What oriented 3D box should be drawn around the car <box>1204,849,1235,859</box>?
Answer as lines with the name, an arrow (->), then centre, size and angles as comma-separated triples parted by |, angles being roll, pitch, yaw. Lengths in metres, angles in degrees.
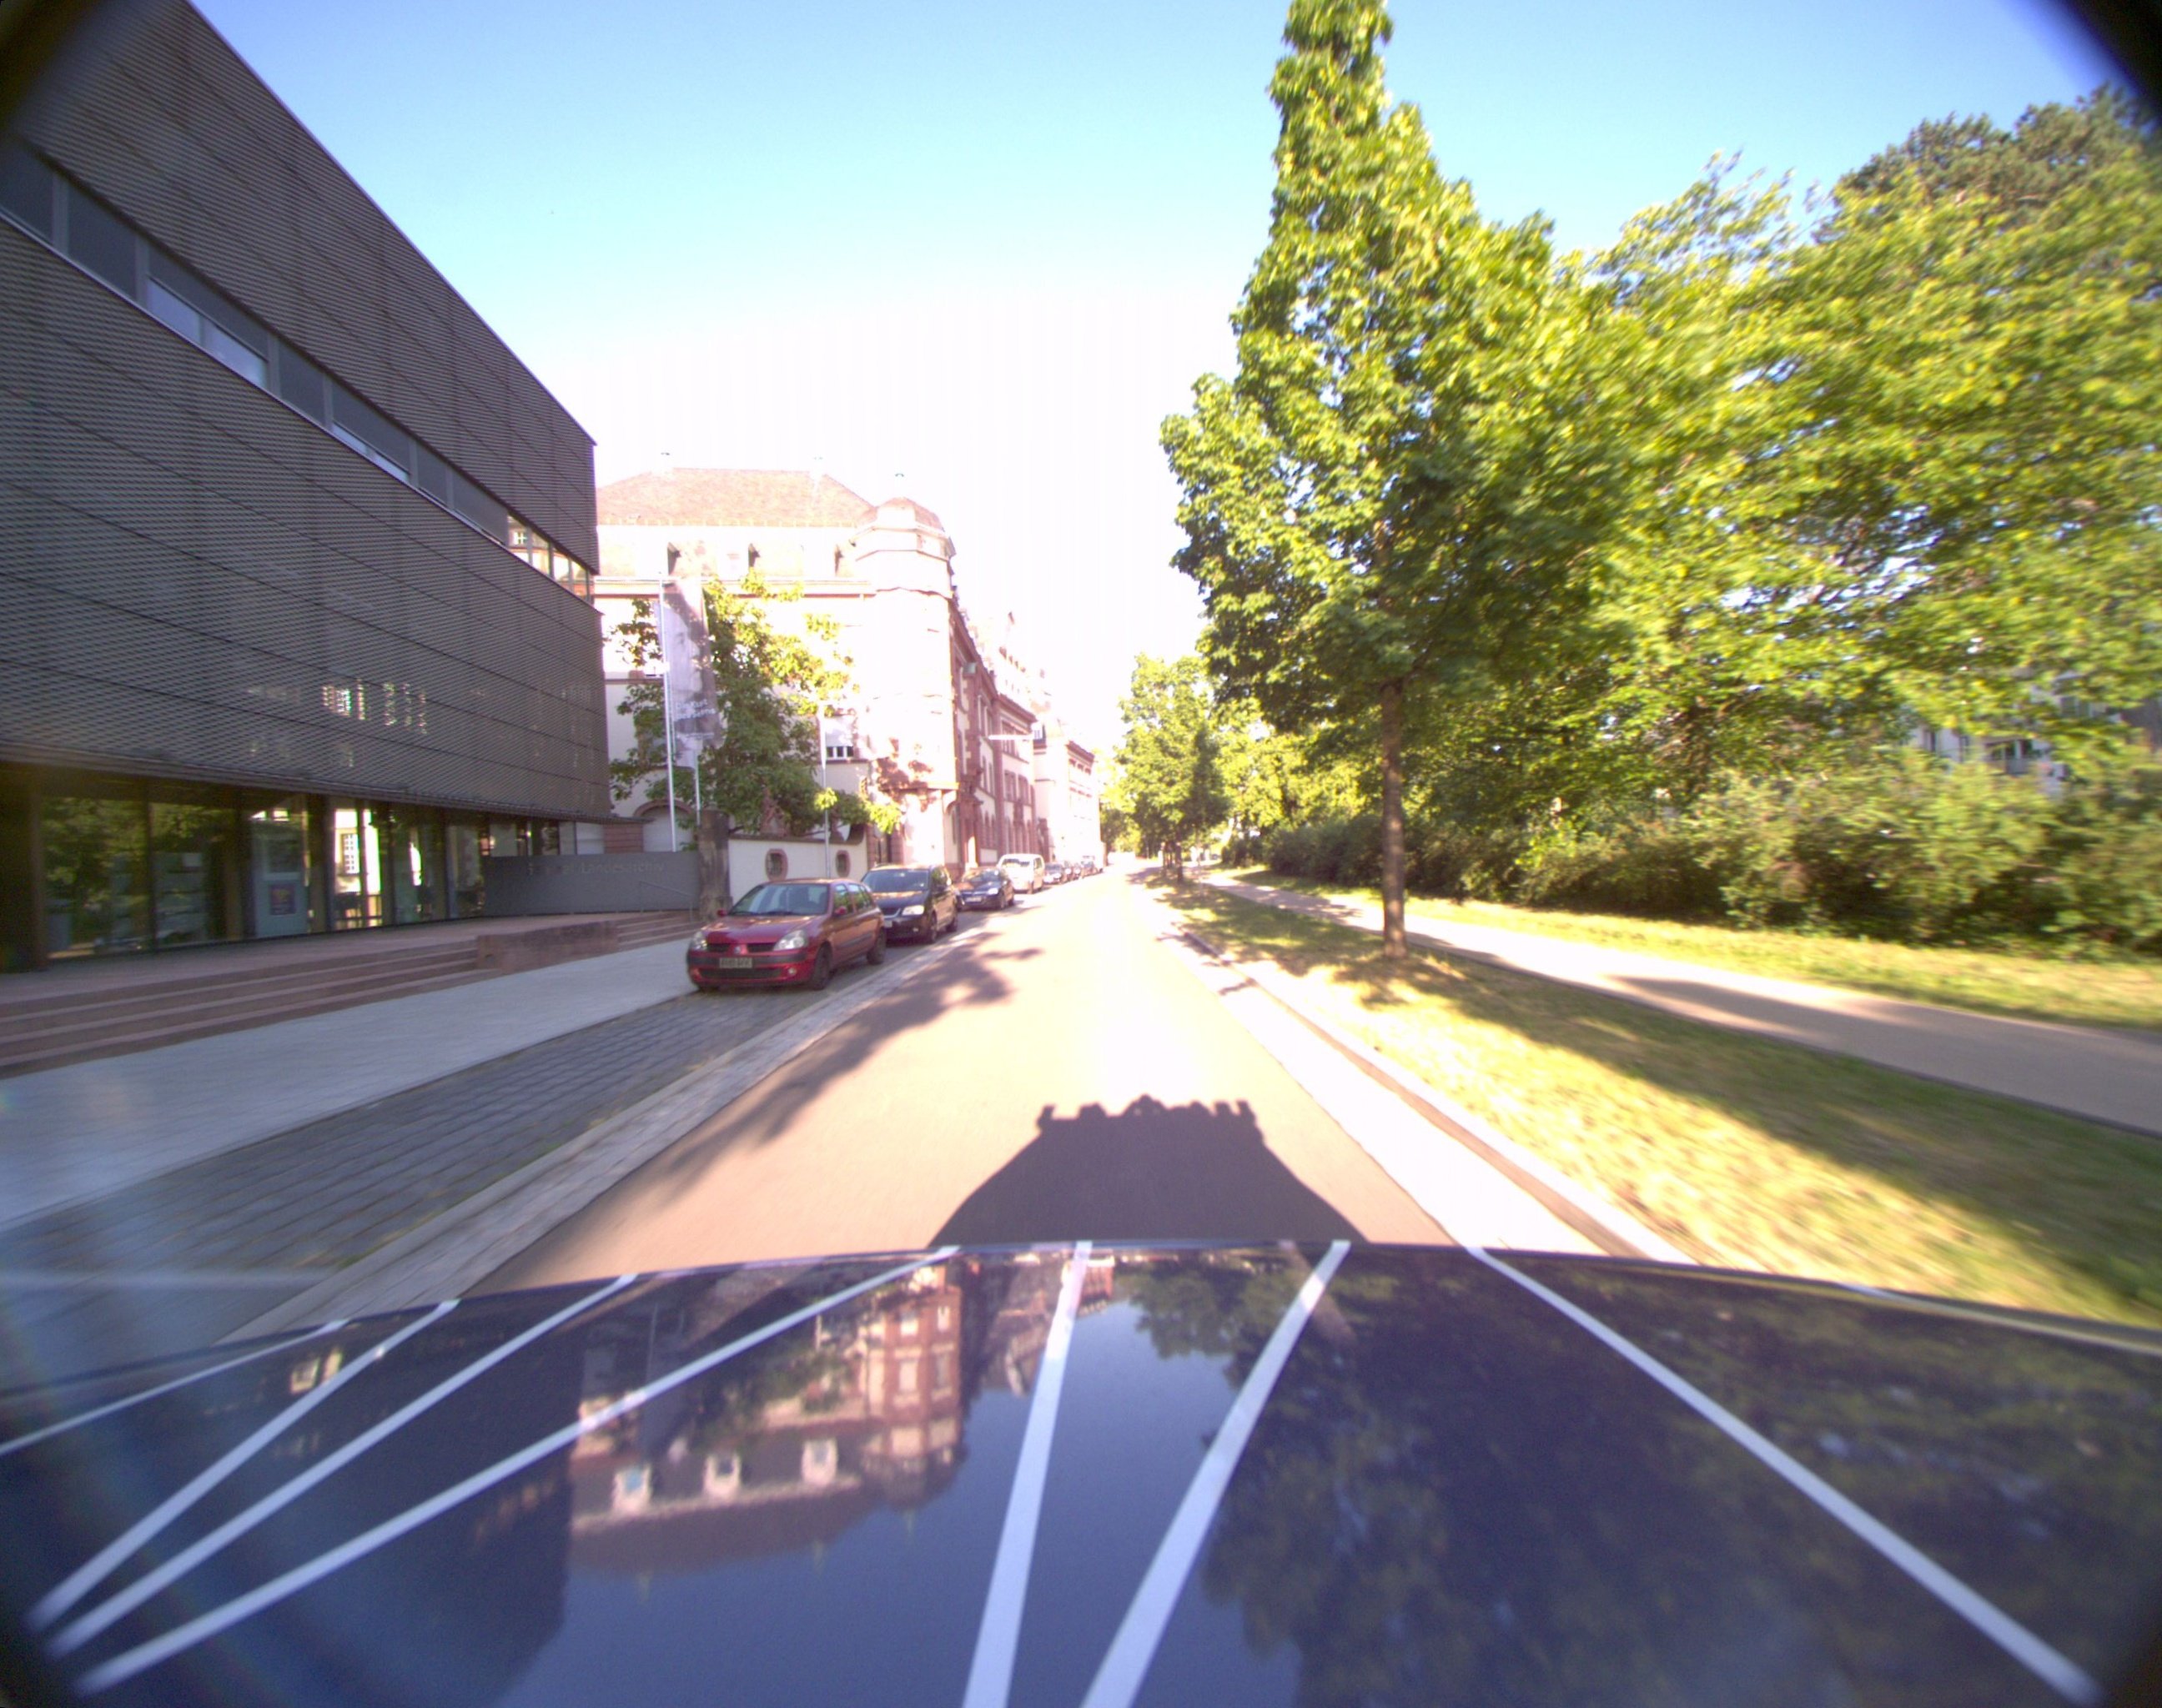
car -> 23.967, -0.010, 131.863 | 4.837, 1.549, 1.867 | -3, 0, -7

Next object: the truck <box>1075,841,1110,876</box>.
truck -> 1.230, 0.365, 75.440 | 2.629, 3.103, 6.089 | -4, 1, 8

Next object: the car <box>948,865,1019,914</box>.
car -> -3.351, 1.193, 26.920 | 1.751, 1.458, 4.478 | -2, 0, 2

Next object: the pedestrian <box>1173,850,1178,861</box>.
pedestrian -> 15.739, 0.197, 126.927 | 0.612, 1.828, 0.726 | -3, -2, -6

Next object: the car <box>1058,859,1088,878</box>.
car -> -0.586, 1.105, 59.363 | 1.875, 1.428, 4.524 | -1, 0, 5

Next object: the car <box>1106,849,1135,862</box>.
car -> 8.872, 0.293, 170.051 | 5.910, 2.684, 2.219 | -3, 0, -9

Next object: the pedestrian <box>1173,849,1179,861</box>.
pedestrian -> 15.702, 0.138, 126.064 | 0.716, 1.829, 0.790 | -3, -1, -6

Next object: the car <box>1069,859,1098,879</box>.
car -> 0.251, 1.333, 68.259 | 1.771, 1.522, 4.574 | -4, 1, 10

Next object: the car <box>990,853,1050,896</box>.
car -> -3.036, 0.996, 39.070 | 1.997, 1.955, 4.851 | -3, 1, 8

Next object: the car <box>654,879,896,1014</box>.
car -> -4.050, 1.146, 10.829 | 1.728, 1.413, 3.907 | -2, 0, 2

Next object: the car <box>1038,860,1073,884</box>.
car -> -1.630, 1.146, 49.384 | 1.682, 1.394, 4.201 | -3, 0, 6

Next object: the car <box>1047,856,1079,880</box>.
car -> -1.258, 0.988, 54.773 | 1.820, 1.593, 4.193 | -1, 0, 4

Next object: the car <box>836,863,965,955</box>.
car -> -3.688, 1.050, 16.245 | 1.728, 1.659, 4.114 | -1, 0, 0
